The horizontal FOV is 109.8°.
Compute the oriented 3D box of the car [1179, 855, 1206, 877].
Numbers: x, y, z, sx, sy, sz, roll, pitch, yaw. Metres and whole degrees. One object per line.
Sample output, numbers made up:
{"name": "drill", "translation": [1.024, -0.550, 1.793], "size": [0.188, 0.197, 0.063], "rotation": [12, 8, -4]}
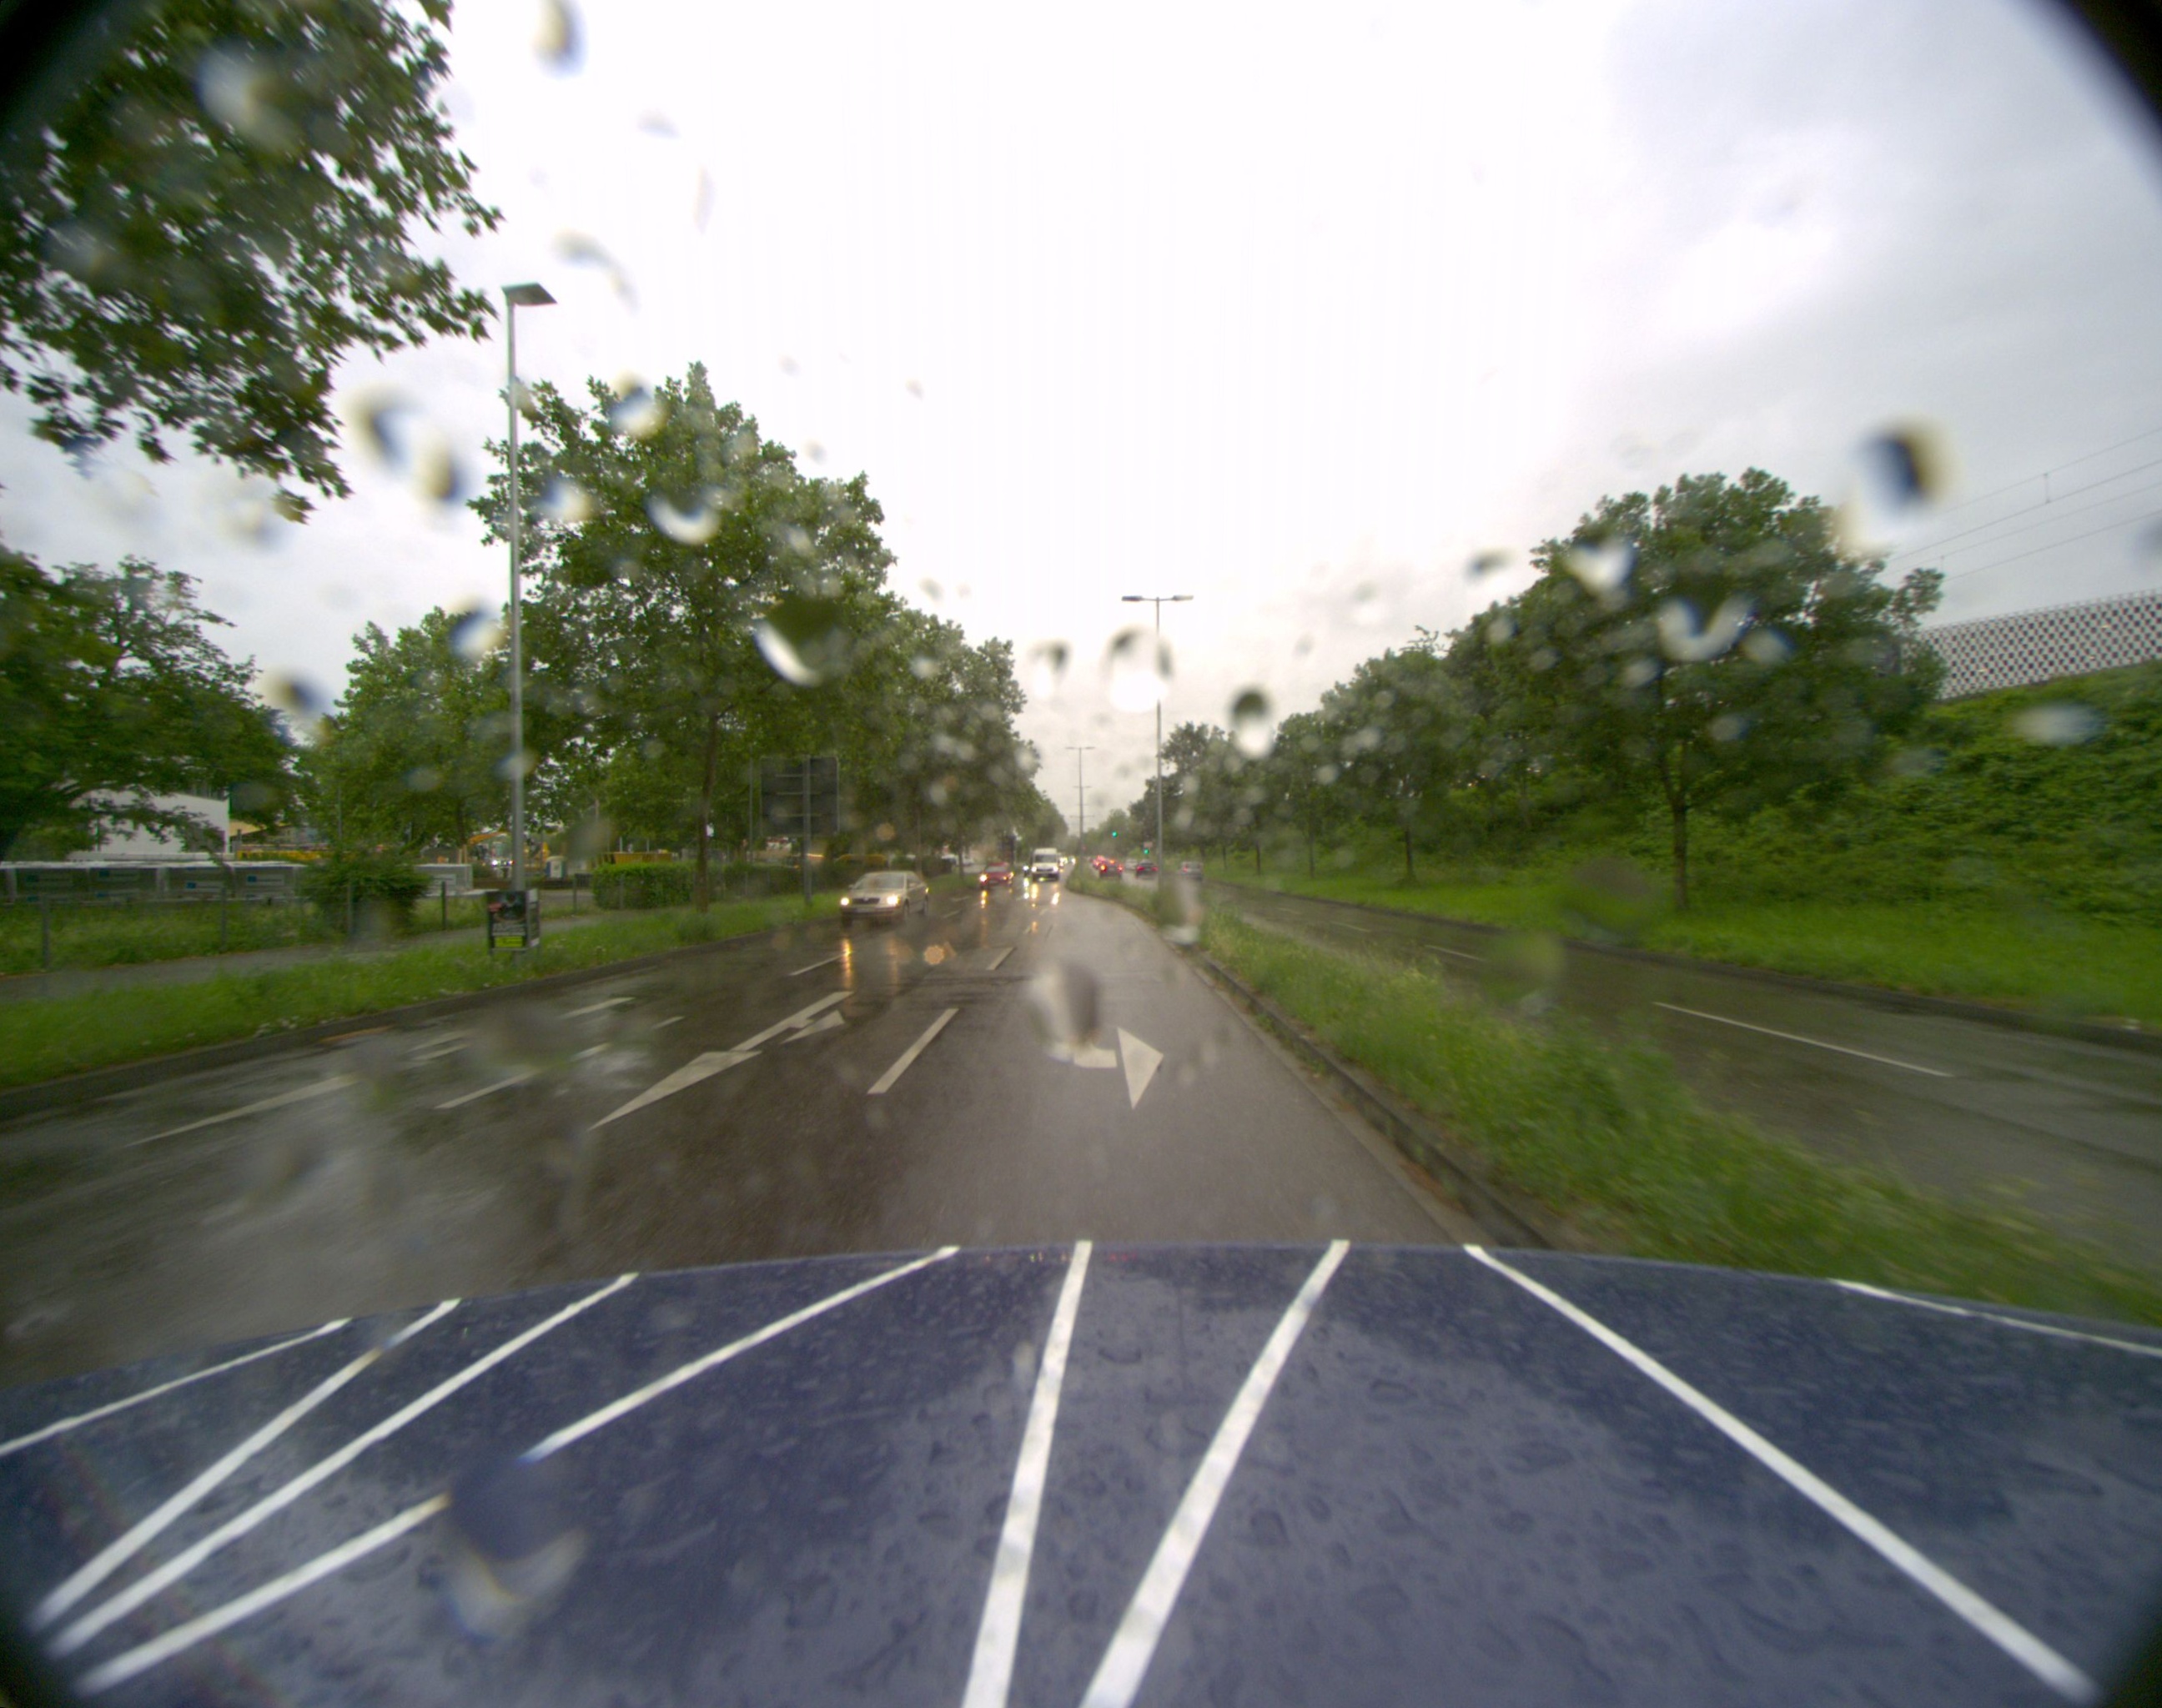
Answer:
{"name": "car", "translation": [8.989, 0.946, 61.588], "size": [1.700, 1.608, 3.847], "rotation": [-1, 0, 1]}

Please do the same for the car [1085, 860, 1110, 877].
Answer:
{"name": "car", "translation": [1.606, 1.403, 74.158], "size": [1.914, 1.565, 4.706], "rotation": [1, 0, -5]}

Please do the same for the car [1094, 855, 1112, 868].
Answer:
{"name": "car", "translation": [2.860, 1.009, 99.683], "size": [1.914, 1.565, 4.707], "rotation": [1, 0, -3]}

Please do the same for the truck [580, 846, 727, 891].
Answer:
{"name": "truck", "translation": [-32.984, 1.005, 58.873], "size": [9.517, 3.015, 3.073], "rotation": [-3, 2, -35]}

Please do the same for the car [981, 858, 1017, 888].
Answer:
{"name": "car", "translation": [-5.149, 1.149, 48.282], "size": [1.699, 1.759, 4.558], "rotation": [-1, 0, 1]}

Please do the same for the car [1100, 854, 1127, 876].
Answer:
{"name": "car", "translation": [2.624, 0.872, 62.266], "size": [1.829, 1.566, 4.358], "rotation": [3, 1, -2]}

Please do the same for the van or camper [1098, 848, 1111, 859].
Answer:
{"name": "van or camper", "translation": [3.736, -0.099, 120.806], "size": [1.733, 1.732, 3.999], "rotation": [2, 0, -1]}

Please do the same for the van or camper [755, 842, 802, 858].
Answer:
{"name": "van or camper", "translation": [-65.269, -0.800, 164.054], "size": [8.995, 3.140, 2.979], "rotation": [-3, 2, -35]}

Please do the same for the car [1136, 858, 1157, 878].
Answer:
{"name": "car", "translation": [5.789, 1.242, 66.928], "size": [1.724, 1.608, 4.347], "rotation": [0, 1, 6]}

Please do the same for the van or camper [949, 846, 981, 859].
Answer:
{"name": "van or camper", "translation": [-19.319, -0.253, 126.858], "size": [4.918, 2.076, 1.863], "rotation": [0, 1, -38]}

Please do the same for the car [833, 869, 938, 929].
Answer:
{"name": "car", "translation": [-5.477, 1.209, 21.866], "size": [1.807, 1.422, 4.386], "rotation": [-1, 0, 1]}

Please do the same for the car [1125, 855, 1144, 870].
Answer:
{"name": "car", "translation": [6.278, 0.972, 89.911], "size": [1.913, 1.565, 4.709], "rotation": [2, 0, 1]}

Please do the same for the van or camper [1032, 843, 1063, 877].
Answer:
{"name": "van or camper", "translation": [-2.589, 0.451, 60.534], "size": [2.100, 2.579, 4.775], "rotation": [-2, 0, 1]}

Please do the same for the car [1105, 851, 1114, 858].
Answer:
{"name": "car", "translation": [6.754, 0.144, 179.618], "size": [1.998, 1.678, 4.709], "rotation": [2, 0, 1]}

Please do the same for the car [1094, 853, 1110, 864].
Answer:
{"name": "car", "translation": [3.044, 0.642, 111.652], "size": [1.904, 1.604, 4.109], "rotation": [2, 0, -4]}

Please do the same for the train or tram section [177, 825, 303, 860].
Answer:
{"name": "train or tram section", "translation": [-88.988, -1.280, 80.709], "size": [8.546, 3.500, 2.394], "rotation": [-3, 2, -38]}

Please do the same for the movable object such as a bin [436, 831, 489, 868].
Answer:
{"name": "movable object such as a bin", "translation": [-63.502, -0.476, 78.006], "size": [3.602, 3.605, 3.326], "rotation": [0, 1, 35]}

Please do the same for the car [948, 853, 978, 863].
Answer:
{"name": "car", "translation": [-19.105, 0.618, 122.981], "size": [4.470, 1.663, 1.863], "rotation": [0, 1, -38]}

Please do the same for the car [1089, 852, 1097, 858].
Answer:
{"name": "car", "translation": [3.477, 0.362, 218.854], "size": [1.998, 1.678, 4.709], "rotation": [2, 0, 1]}

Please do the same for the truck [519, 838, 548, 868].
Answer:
{"name": "truck", "translation": [-63.823, -0.155, 88.663], "size": [2.501, 3.326, 9.444], "rotation": [-3, 2, -35]}

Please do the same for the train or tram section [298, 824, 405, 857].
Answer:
{"name": "train or tram section", "translation": [-82.294, -1.559, 85.944], "size": [8.386, 3.500, 2.394], "rotation": [-3, 2, -38]}

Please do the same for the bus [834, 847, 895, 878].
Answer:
{"name": "bus", "translation": [-19.247, 0.714, 67.765], "size": [4.804, 2.632, 2.000], "rotation": [-1, 1, 1]}
